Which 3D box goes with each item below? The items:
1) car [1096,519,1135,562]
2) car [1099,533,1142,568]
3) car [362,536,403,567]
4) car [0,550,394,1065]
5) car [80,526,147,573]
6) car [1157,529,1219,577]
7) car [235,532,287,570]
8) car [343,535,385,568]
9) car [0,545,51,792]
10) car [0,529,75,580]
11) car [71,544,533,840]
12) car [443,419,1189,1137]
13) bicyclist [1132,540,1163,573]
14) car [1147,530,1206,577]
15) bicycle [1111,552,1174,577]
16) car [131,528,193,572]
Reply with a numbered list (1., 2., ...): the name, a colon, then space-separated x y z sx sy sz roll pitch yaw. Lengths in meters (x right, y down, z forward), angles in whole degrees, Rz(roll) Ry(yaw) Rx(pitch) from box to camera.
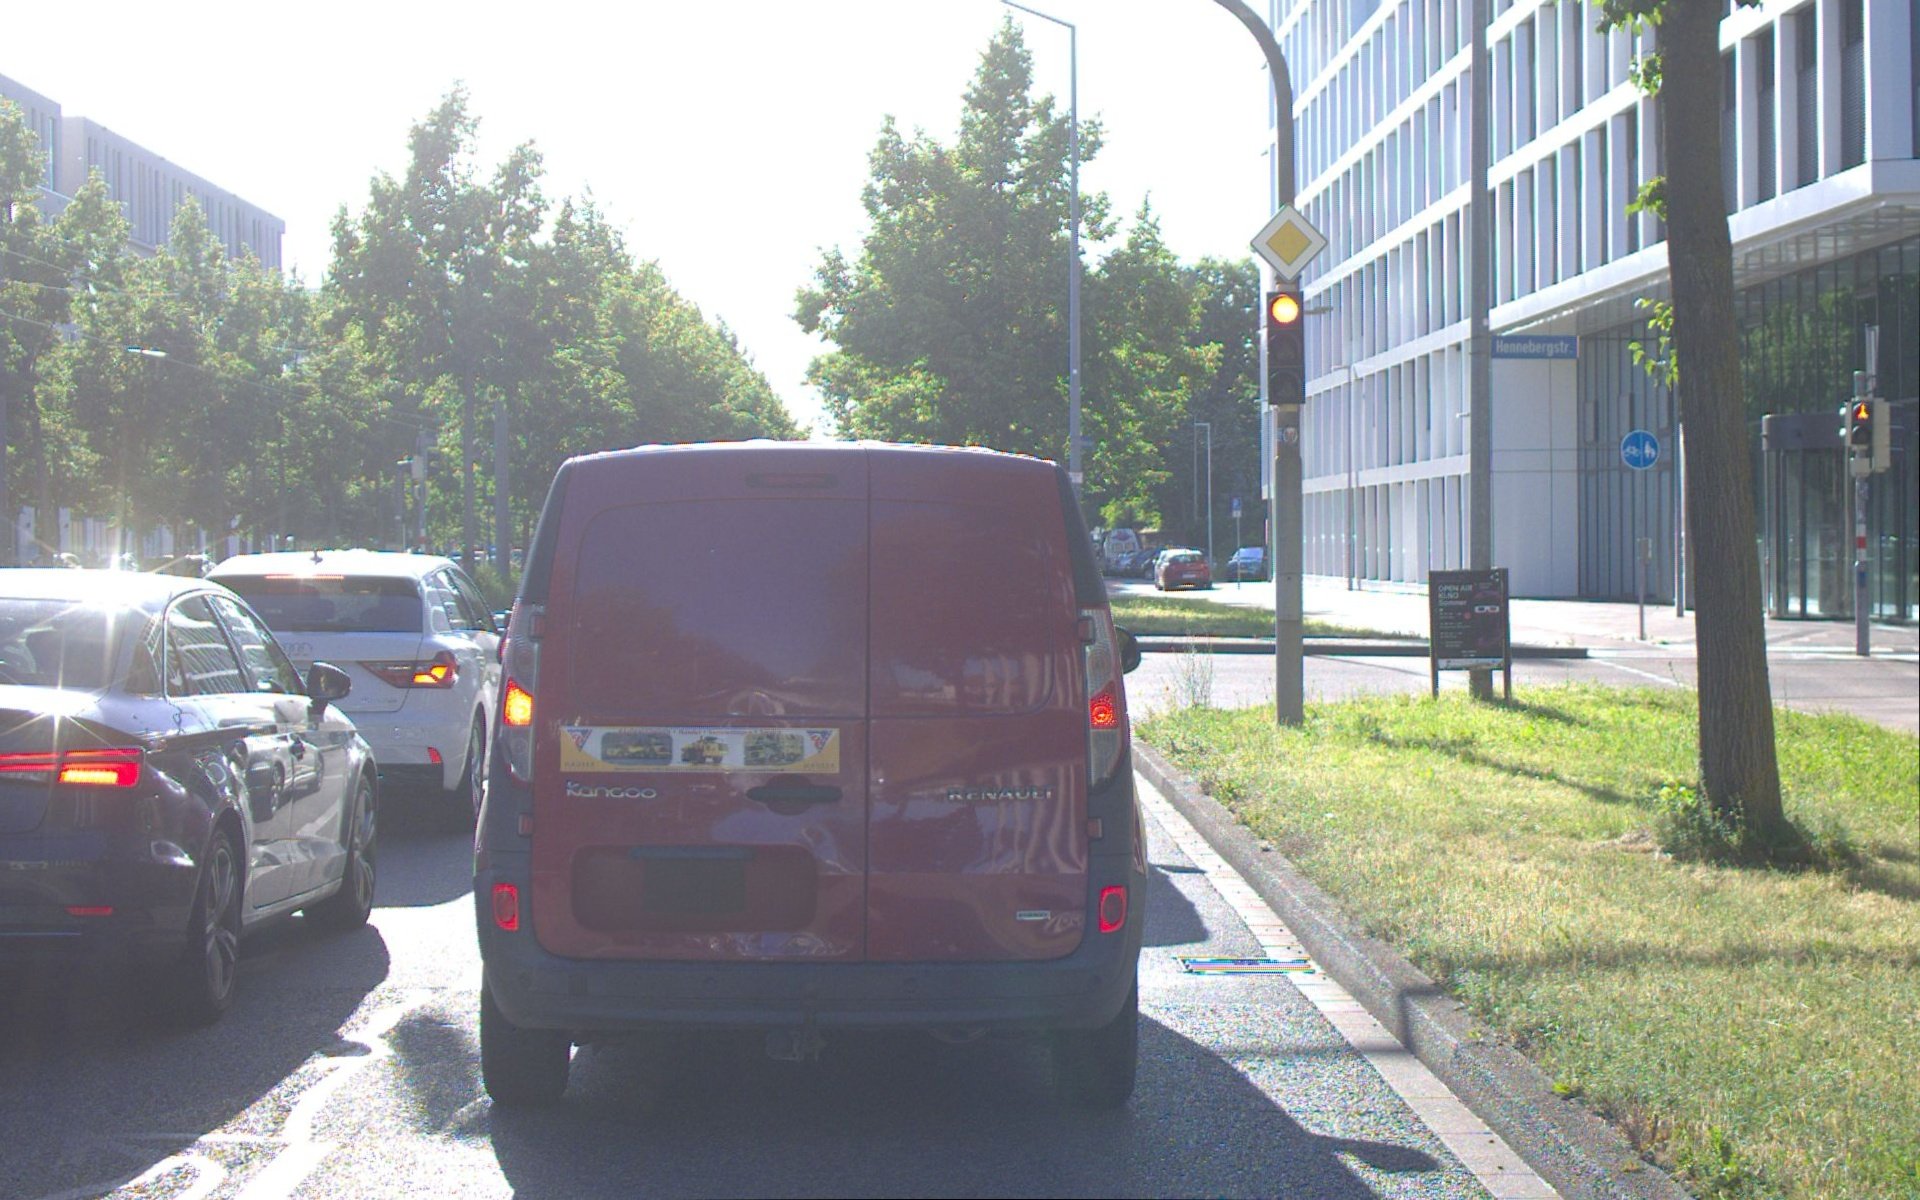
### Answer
1. car: 9.007 -3.460 199.458 1.993 2.488 4.987 0 1 -1
2. car: 8.430 -2.612 180.949 1.993 1.776 4.000 0 1 -1
3. car: -37.616 -3.155 223.988 1.993 2.007 4.000 0 1 -1
4. car: -3.201 0.552 11.812 1.842 1.421 4.339 0 1 -1
5. car: -37.028 -2.226 150.446 1.993 2.007 4.000 0 1 -1
6. car: 8.537 -1.768 129.042 1.993 1.776 4.000 0 1 -1
7. car: -37.285 -2.644 183.532 1.993 2.007 4.000 0 1 -1
8. car: -37.826 -3.093 218.364 1.993 2.007 4.000 0 1 -1
9. car: -6.621 0.402 19.697 1.799 1.478 4.569 3 1 -3
10. car: -36.943 -1.846 137.620 1.993 2.007 4.000 0 1 -1
11. car: -3.438 0.414 18.651 1.803 1.421 3.901 0 1 -1
12. car: -0.380 0.402 10.506 1.842 1.774 4.000 0 1 -1
13. bicyclist: 8.234 -1.929 151.023 0.986 1.432 0.949 0 1 34
14. car: 8.427 -1.834 134.051 1.993 1.776 4.000 0 1 -1
15. bicycle: 8.038 -1.561 151.166 2.642 1.102 0.949 0 1 34
16. car: -37.017 -2.339 159.547 1.993 2.007 4.000 0 1 -1
